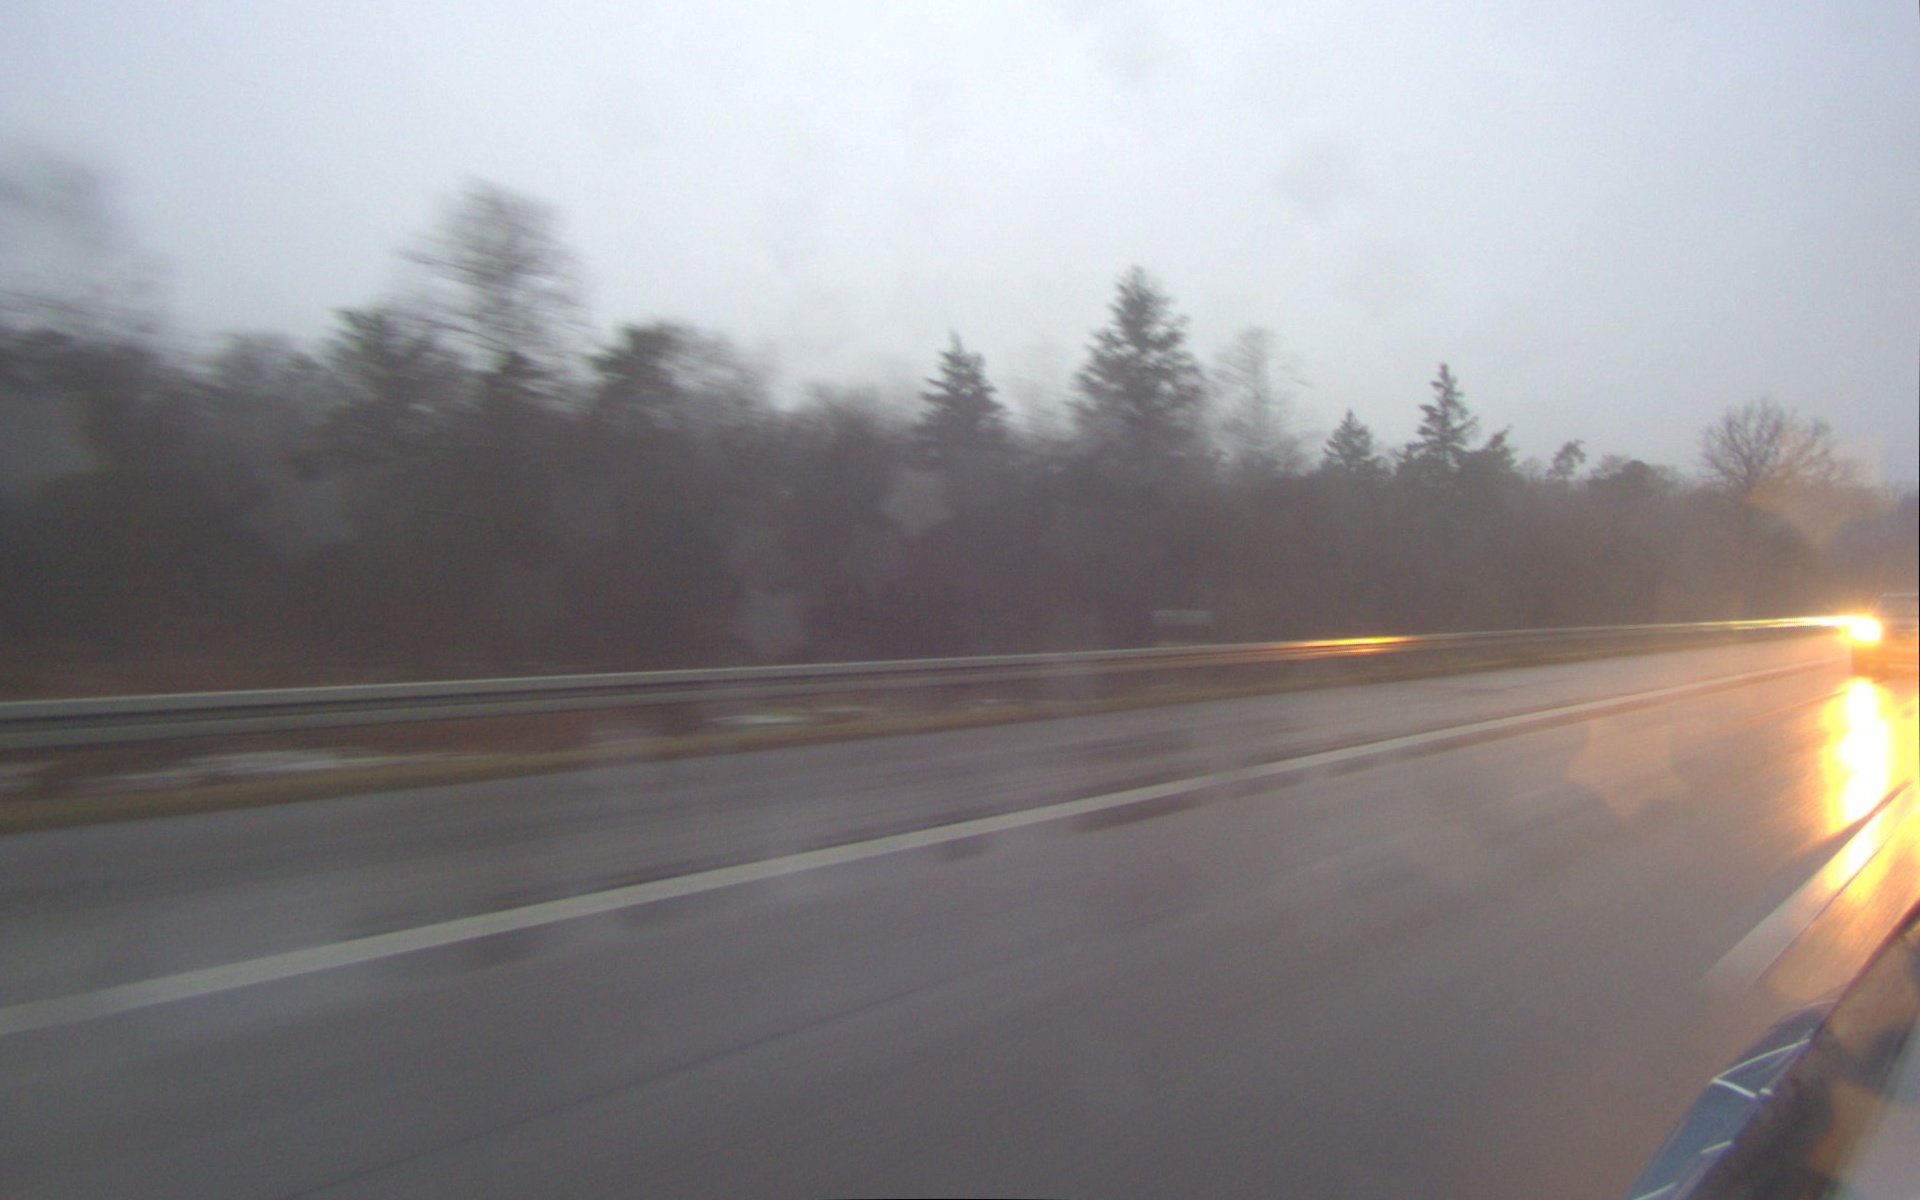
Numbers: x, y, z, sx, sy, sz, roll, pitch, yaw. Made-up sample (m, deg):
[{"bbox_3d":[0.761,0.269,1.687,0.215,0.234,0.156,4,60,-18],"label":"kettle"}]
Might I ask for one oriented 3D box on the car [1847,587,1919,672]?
[{"bbox_3d":[21.036,0.588,21.939,4.381,1.719,2.075,0,0,-40],"label":"car"}]
